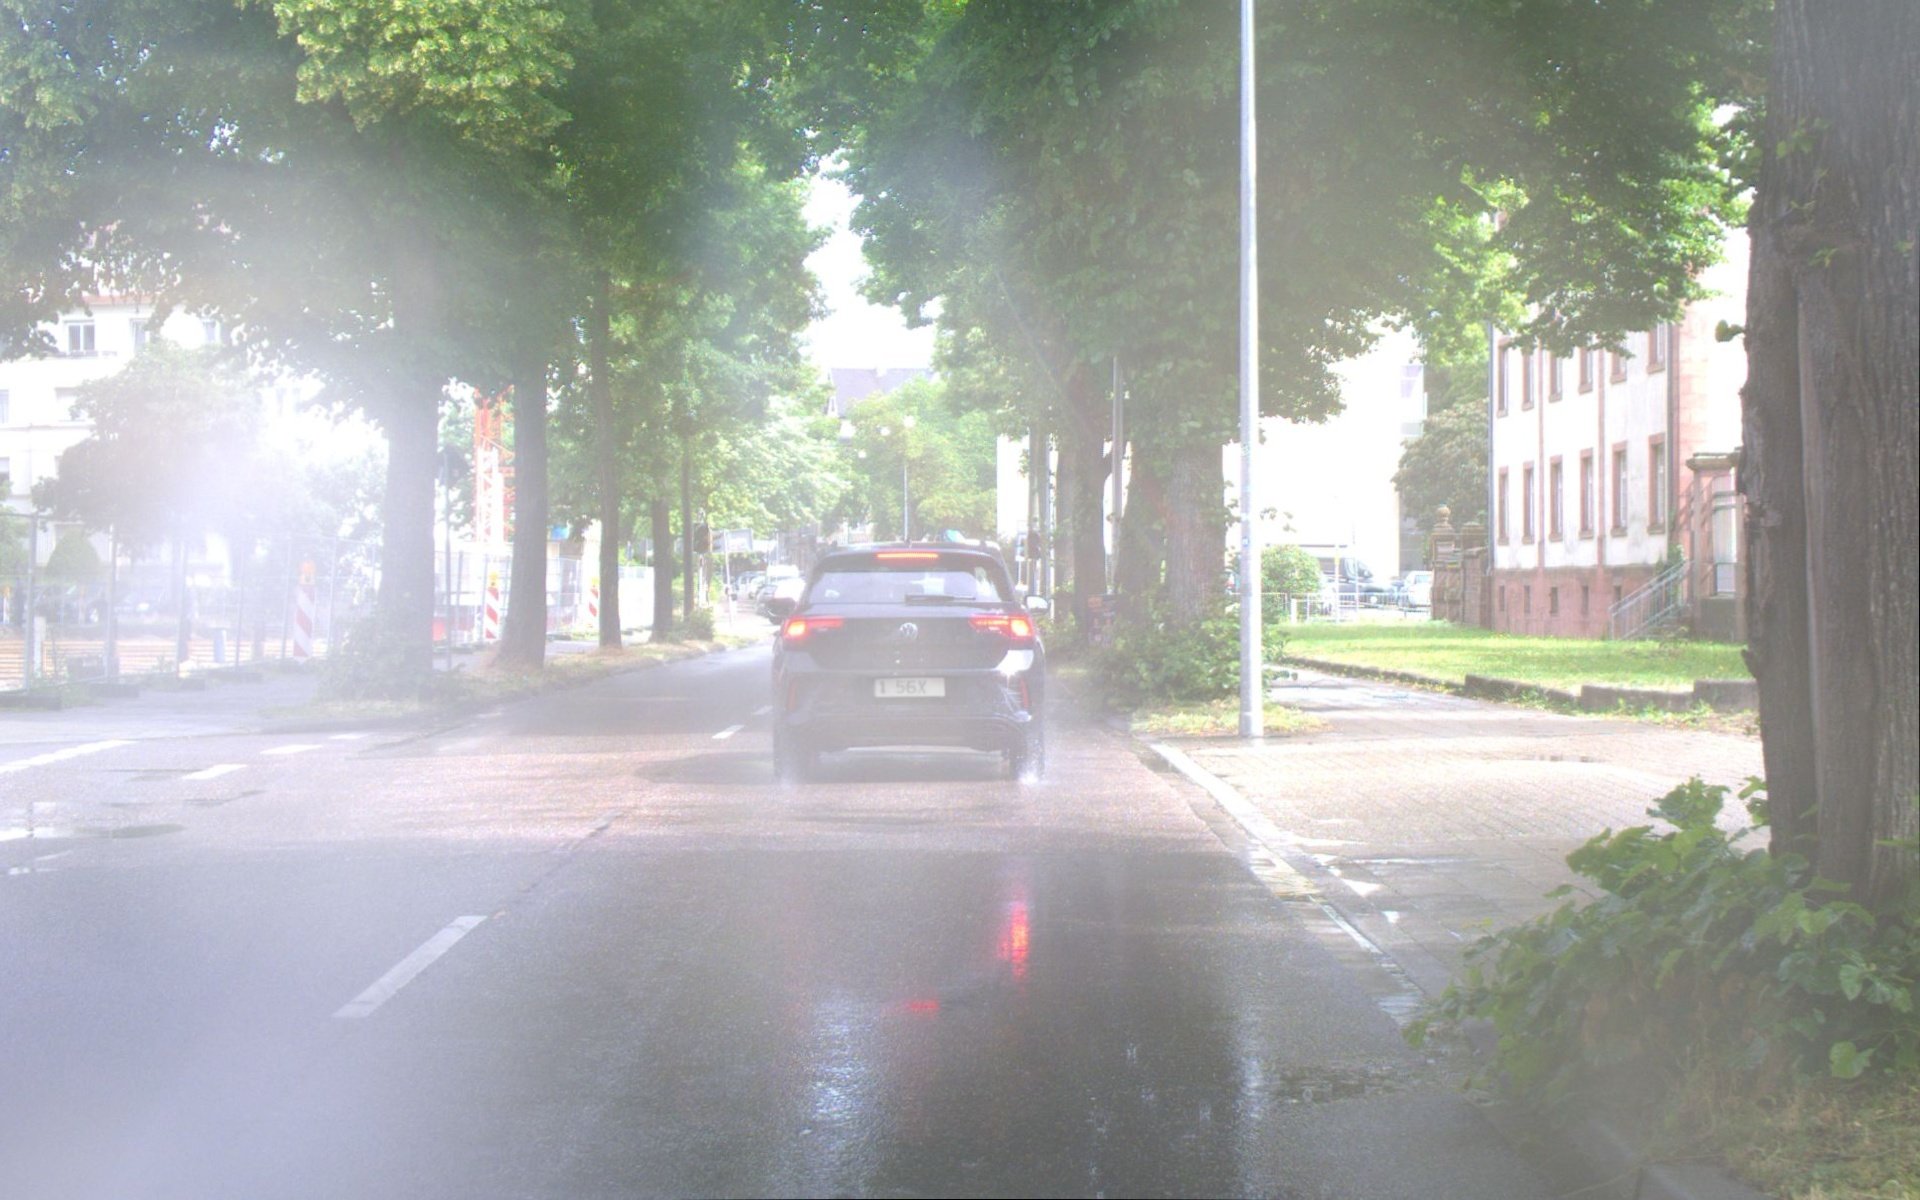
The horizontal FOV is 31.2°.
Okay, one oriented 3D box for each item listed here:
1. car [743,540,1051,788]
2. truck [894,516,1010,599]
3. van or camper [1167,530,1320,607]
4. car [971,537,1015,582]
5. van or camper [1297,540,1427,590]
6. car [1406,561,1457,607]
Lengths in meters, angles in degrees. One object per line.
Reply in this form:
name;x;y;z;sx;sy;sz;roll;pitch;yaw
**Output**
car;-0.455;0.383;23.352;1.894;1.517;4.000;1;0;-2
truck;-0.333;-1.446;115.055;2.804;2.647;8.243;1;1;-8
van or camper;9.744;-1.080;118.271;5.032;2.587;2.168;0;0;-1
car;1.582;-1.918;164.079;1.993;2.007;3.999;1;-1;2
van or camper;15.870;-1.389;135.779;4.875;1.919;2.131;1;1;1
car;18.039;-0.621;131.644;1.743;1.678;3.869;-3;0;6
